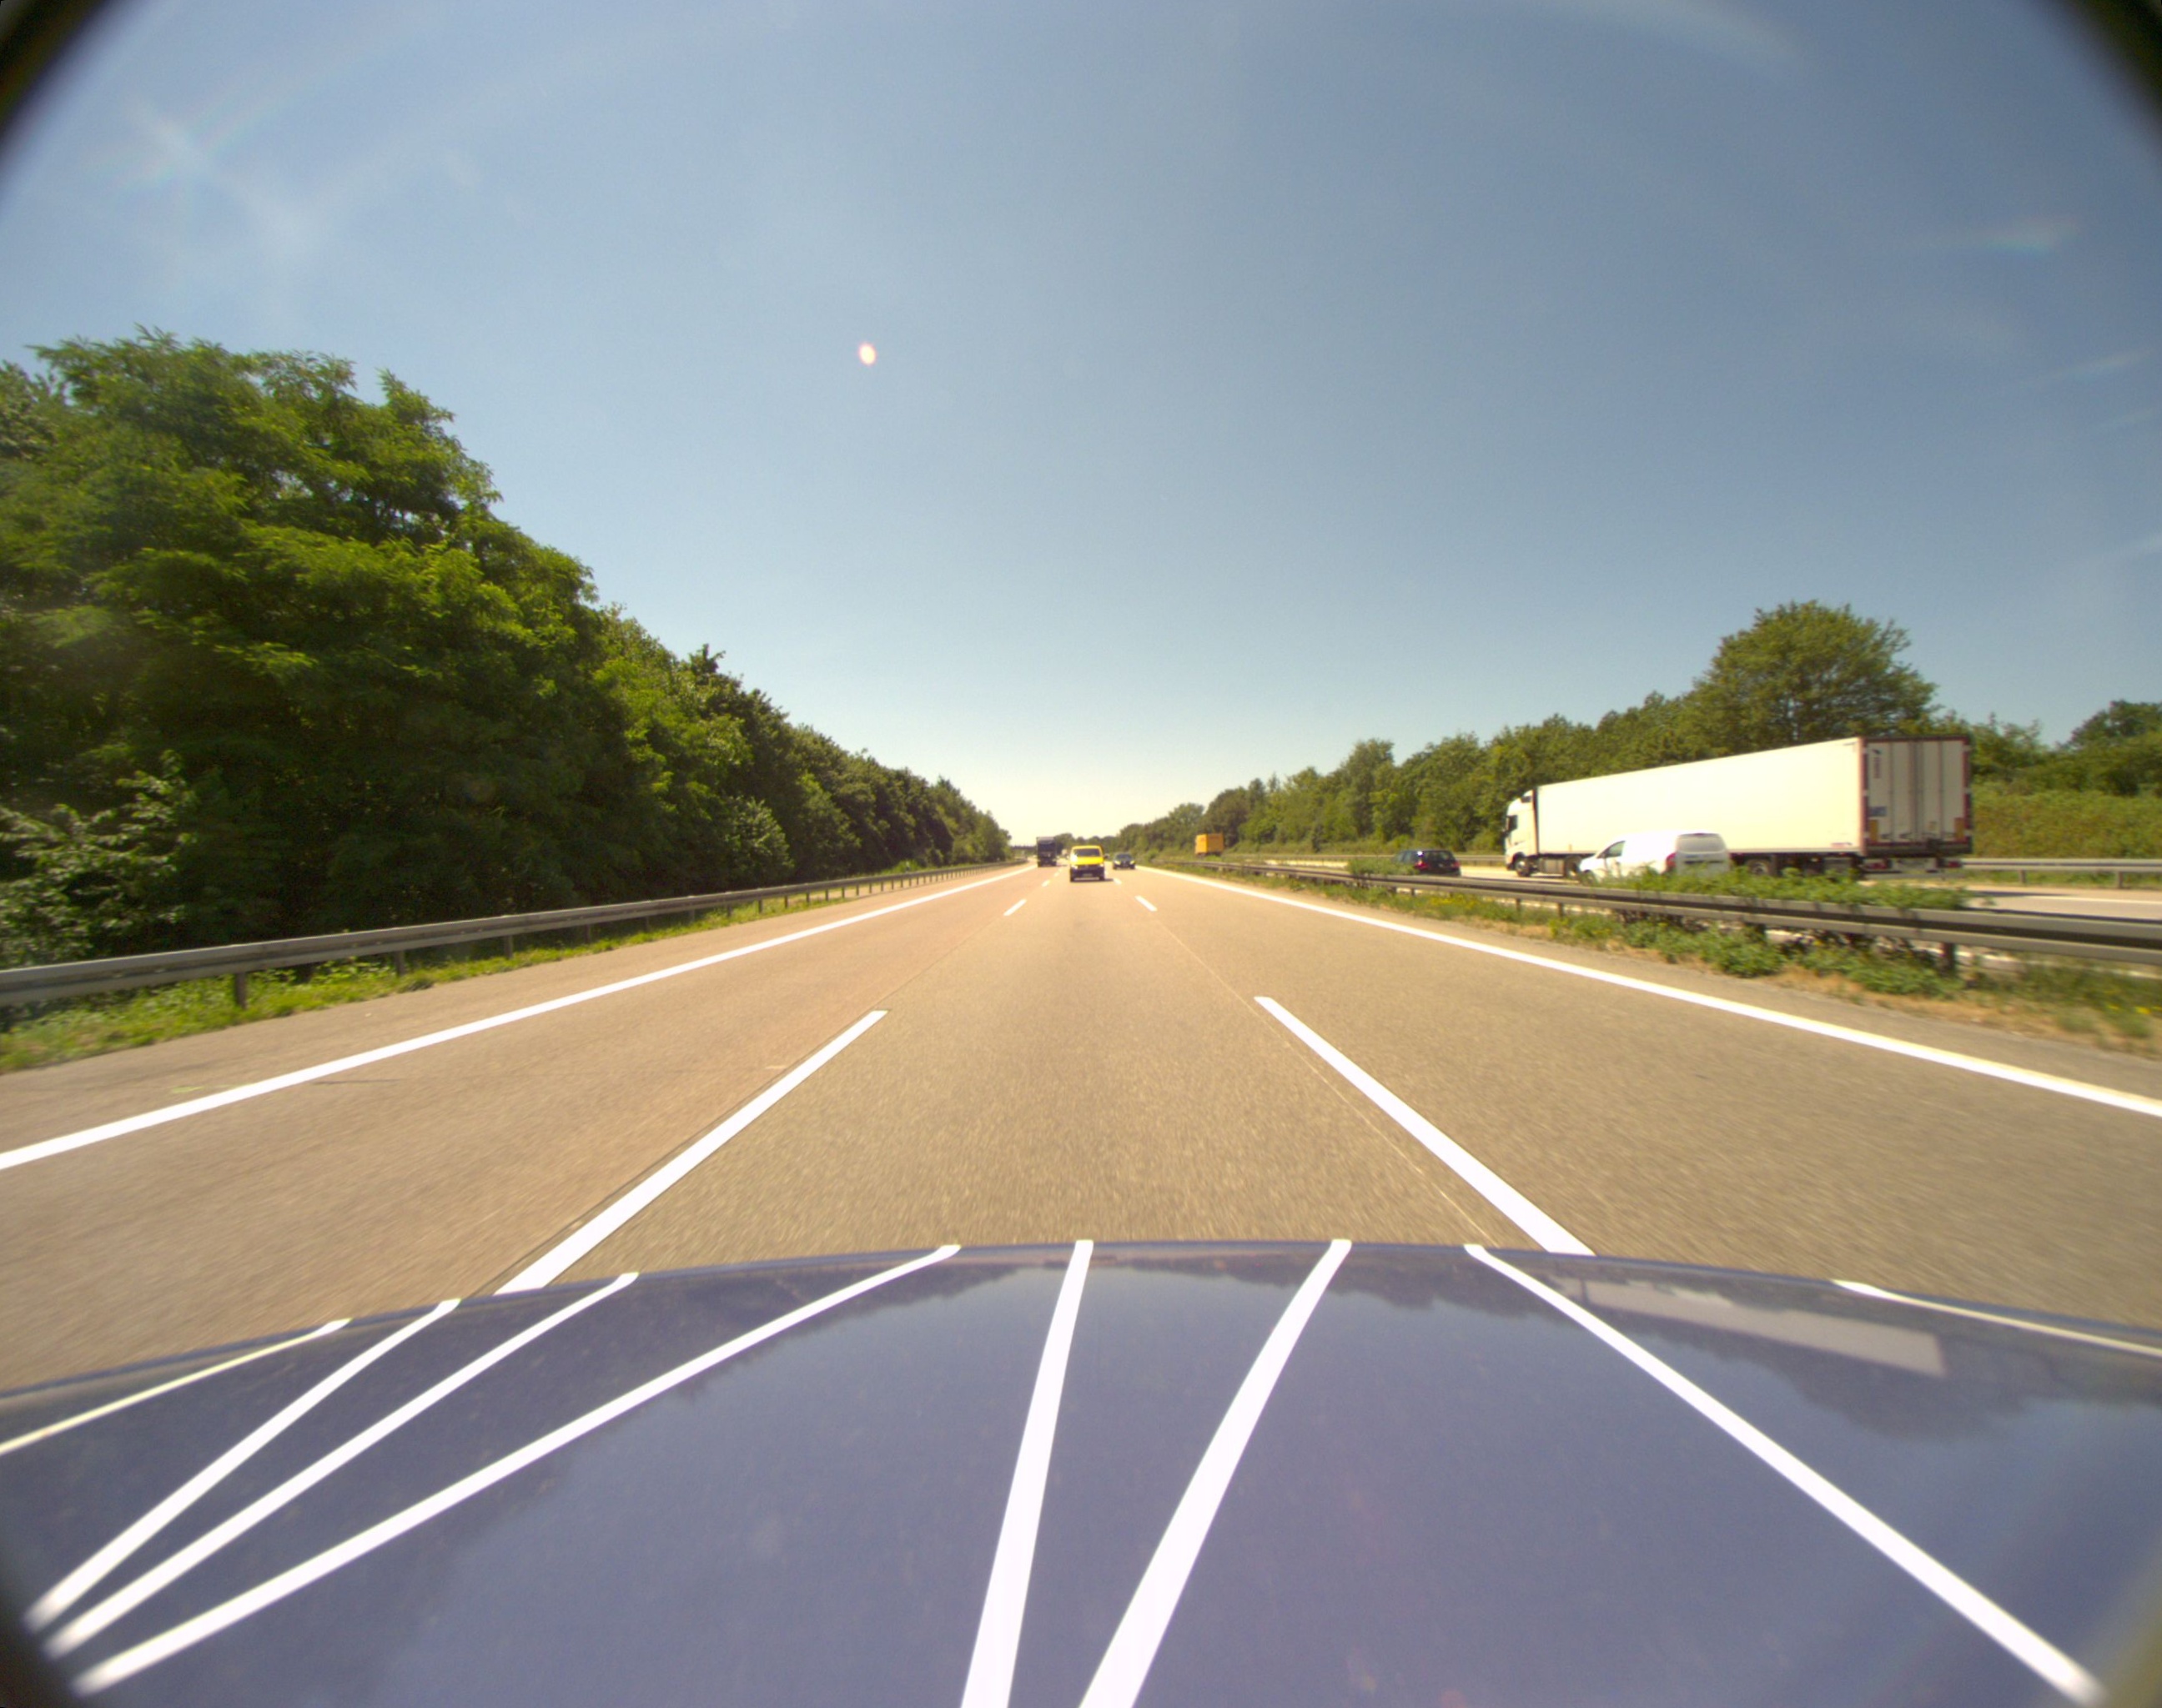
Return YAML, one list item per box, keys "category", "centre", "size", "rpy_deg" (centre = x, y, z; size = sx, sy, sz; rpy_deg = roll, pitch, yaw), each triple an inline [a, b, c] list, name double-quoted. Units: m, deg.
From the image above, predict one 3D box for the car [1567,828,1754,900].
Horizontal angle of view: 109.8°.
- category: "car"
  centre: [16.912, 0.246, 22.558]
  size: [1.820, 1.865, 4.878]
  rpy_deg: [-2, 0, 0]

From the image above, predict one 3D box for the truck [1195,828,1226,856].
- category: "truck"
  centre: [19.938, -1.868, 117.767]
  size: [2.757, 4.017, 10.789]
  rpy_deg: [-2, 1, 0]

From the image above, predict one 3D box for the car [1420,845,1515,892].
- category: "car"
  centre: [12.649, 0.439, 25.088]
  size: [1.377, 1.418, 3.455]
  rpy_deg: [-2, 0, 1]

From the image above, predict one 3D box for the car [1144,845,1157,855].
- category: "car"
  centre: [11.645, -0.652, 127.246]
  size: [1.786, 1.562, 3.980]
  rpy_deg: [-2, 0, -1]

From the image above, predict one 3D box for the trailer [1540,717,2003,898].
- category: "trailer"
  centre: [21.022, -1.178, 25.398]
  size: [3.319, 4.336, 13.587]
  rpy_deg: [-2, 0, 1]

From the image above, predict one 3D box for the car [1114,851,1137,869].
- category: "car"
  centre: [3.924, 0.510, 67.702]
  size: [1.726, 1.478, 3.999]
  rpy_deg: [-2, 0, 0]

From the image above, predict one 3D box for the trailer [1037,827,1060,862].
- category: "trailer"
  centre: [-4.535, -1.281, 107.725]
  size: [2.909, 4.630, 13.982]
  rpy_deg: [-2, 0, -2]

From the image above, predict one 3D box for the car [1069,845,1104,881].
- category: "car"
  centre: [0.274, 0.453, 41.953]
  size: [1.777, 1.882, 3.831]
  rpy_deg: [-1, 1, -1]

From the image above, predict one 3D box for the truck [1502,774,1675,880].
- category: "truck"
  centre: [21.141, -1.066, 32.163]
  size: [3.269, 3.928, 6.100]
  rpy_deg: [-2, 1, 1]

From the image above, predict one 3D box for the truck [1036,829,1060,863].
- category: "truck"
  centre: [-4.304, -1.052, 100.405]
  size: [2.916, 4.231, 4.974]
  rpy_deg: [-2, 1, -1]
